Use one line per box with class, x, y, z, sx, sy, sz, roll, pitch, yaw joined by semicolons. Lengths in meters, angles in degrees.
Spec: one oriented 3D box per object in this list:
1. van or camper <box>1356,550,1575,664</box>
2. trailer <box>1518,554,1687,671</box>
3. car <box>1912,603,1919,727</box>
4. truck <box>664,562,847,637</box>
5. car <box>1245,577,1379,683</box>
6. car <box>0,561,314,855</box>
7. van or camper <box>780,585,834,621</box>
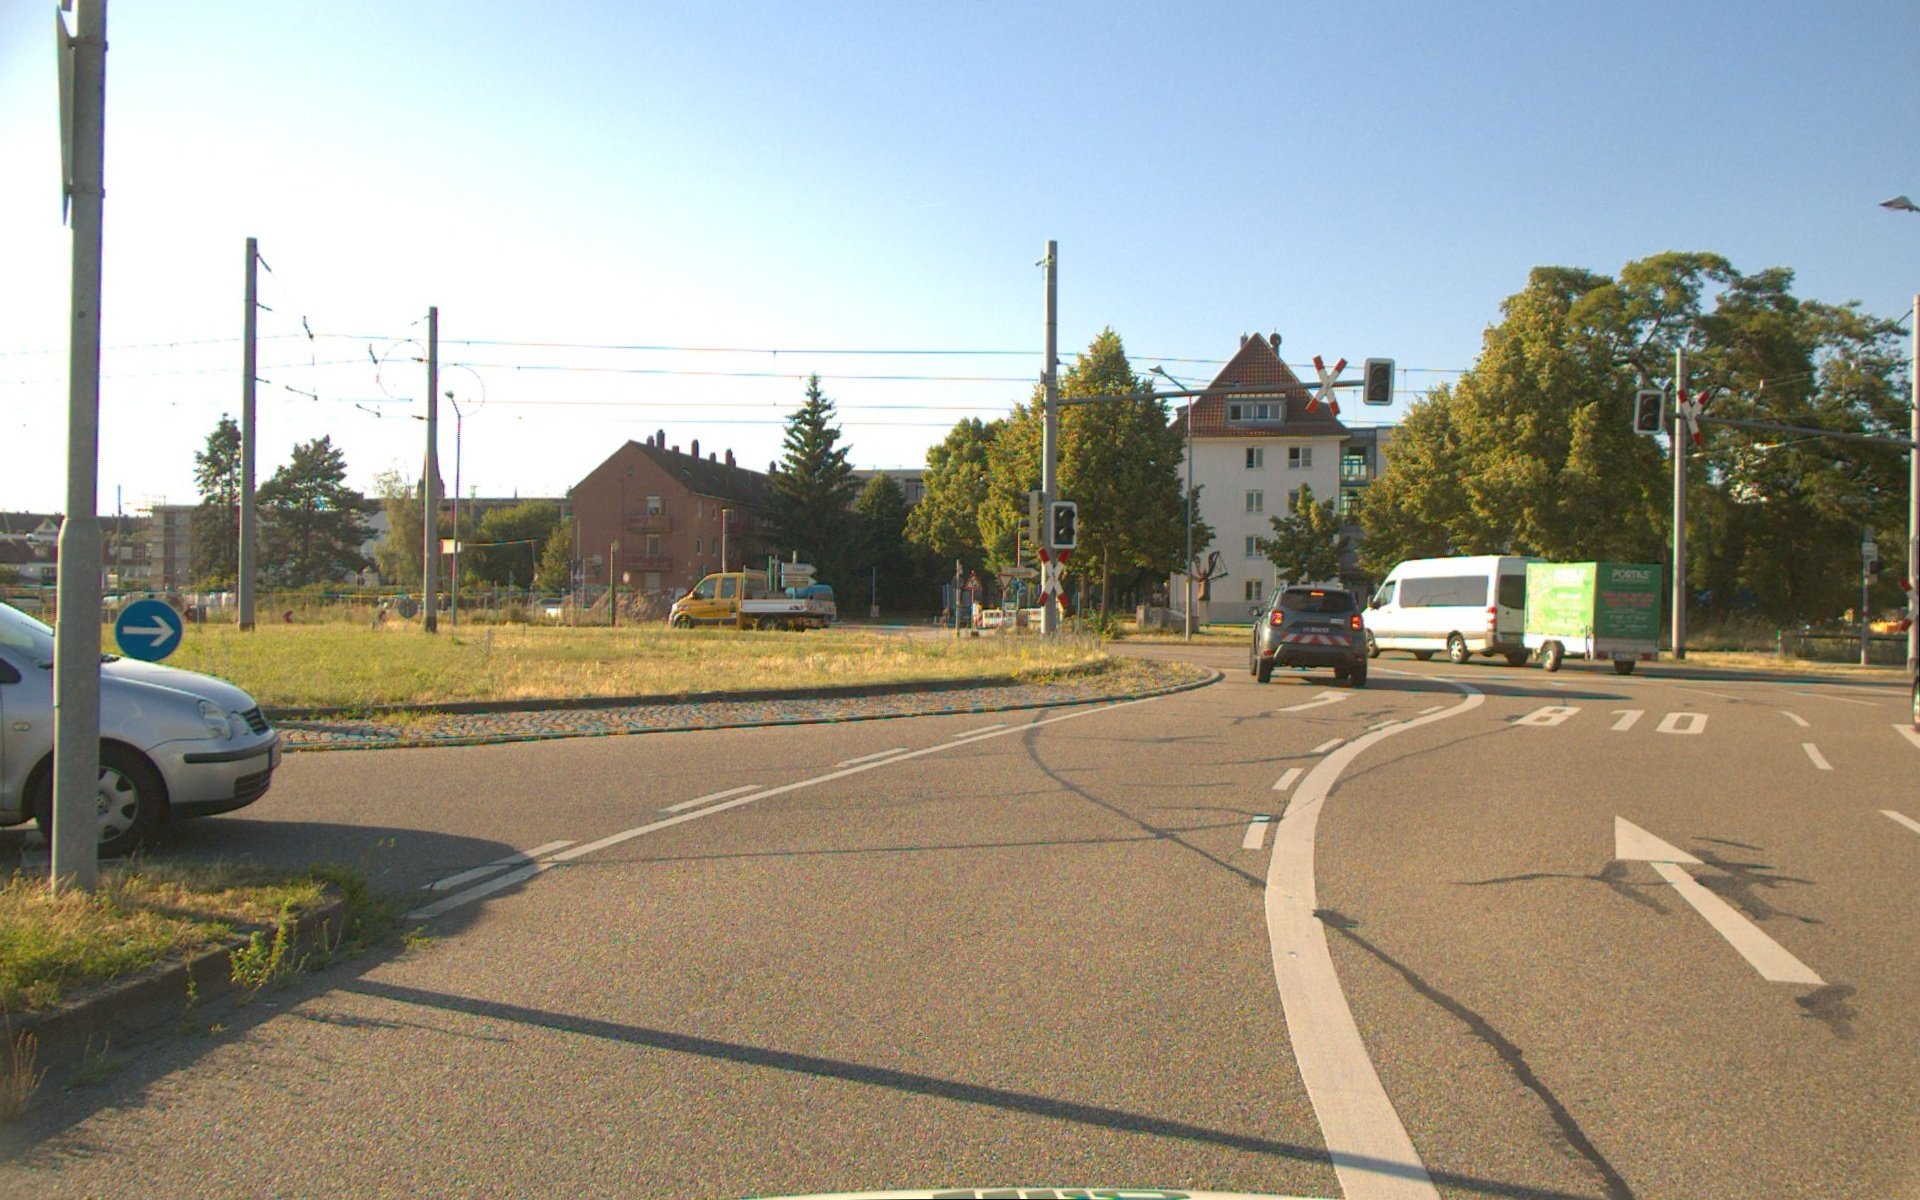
van or camper;12.932;0.155;42.908;2.247;2.675;6.556;2;0;-15
trailer;14.343;0.283;37.127;2.051;2.442;3.494;2;-1;-8
car;11.897;0.790;18.383;1.711;1.499;3.819;0;0;21
truck;-7.389;-0.038;59.770;6.104;2.602;2.588;0;0;23
car;5.987;0.483;28.539;1.865;1.689;4.003;0;0;6
car;-5.568;0.528;8.915;3.685;1.459;1.828;0;0;-16
van or camper;-9.537;0.205;103.744;2.049;2.192;4.427;0;0;13
